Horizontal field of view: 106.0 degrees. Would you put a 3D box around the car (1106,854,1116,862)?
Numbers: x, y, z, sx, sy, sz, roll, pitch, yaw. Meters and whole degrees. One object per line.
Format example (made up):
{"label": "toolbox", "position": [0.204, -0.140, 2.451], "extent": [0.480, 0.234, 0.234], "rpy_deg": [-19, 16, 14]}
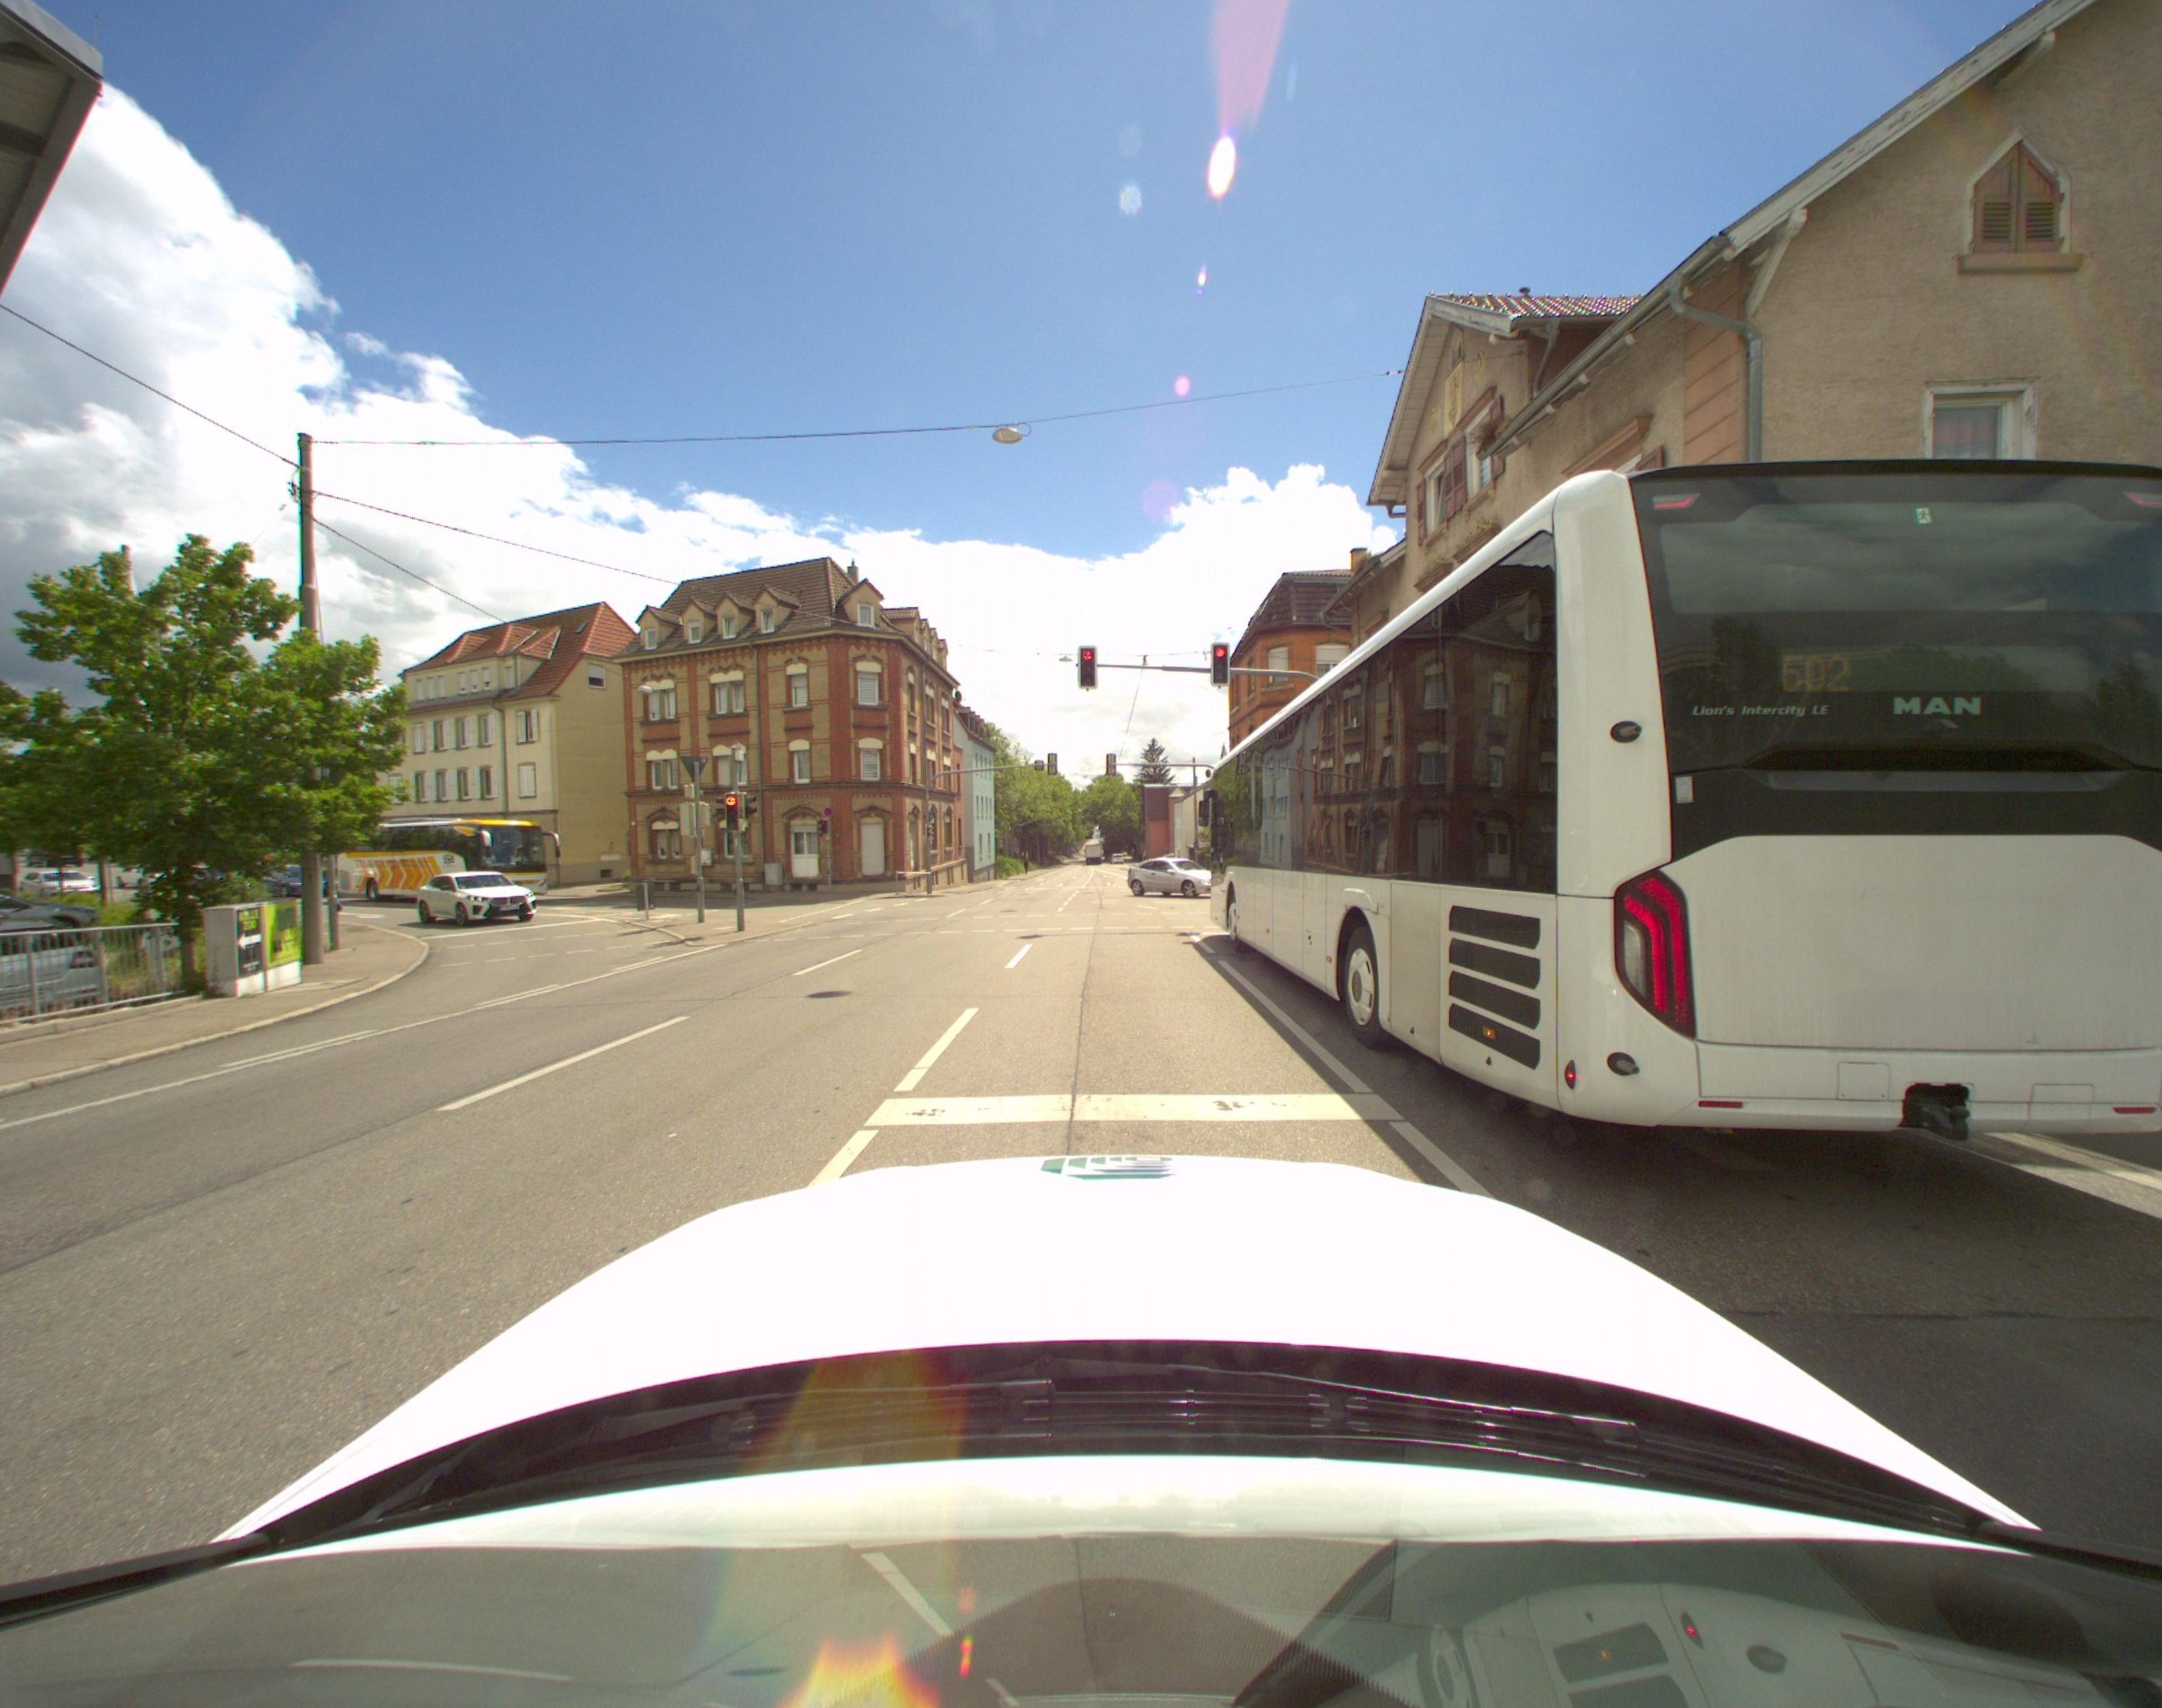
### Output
{"label": "car", "position": [5.727, 0.781, 154.054], "extent": [1.787, 1.409, 4.421], "rpy_deg": [-1, 0, 3]}

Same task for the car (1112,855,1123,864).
{"label": "car", "position": [5.824, 0.810, 129.625], "extent": [1.787, 1.409, 4.002], "rpy_deg": [-1, 0, 2]}

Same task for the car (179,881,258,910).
{"label": "car", "position": [-46.086, 2.203, 43.512], "extent": [3.949, 1.409, 1.923], "rpy_deg": [-2, 0, 29]}

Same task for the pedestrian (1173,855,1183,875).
{"label": "pedestrian", "position": [8.774, 0.974, 73.598], "extent": [0.736, 1.750, 0.619], "rpy_deg": [-2, 0, 1]}

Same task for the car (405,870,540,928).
{"label": "car", "position": [-18.896, 1.372, 25.242], "extent": [4.250, 1.551, 1.845], "rpy_deg": [-2, 1, 32]}

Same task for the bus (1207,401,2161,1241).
{"label": "bus", "position": [3.525, -0.137, 9.302], "extent": [2.662, 3.155, 12.467], "rpy_deg": [0, 0, 2]}

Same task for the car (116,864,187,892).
{"label": "car", "position": [-53.752, 1.389, 47.088], "extent": [3.949, 1.553, 1.923], "rpy_deg": [-2, 0, 29]}

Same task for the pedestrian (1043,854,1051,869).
{"label": "pedestrian", "position": [-4.656, 1.037, 112.415], "extent": [0.991, 2.013, 1.189], "rpy_deg": [-2, 0, 1]}

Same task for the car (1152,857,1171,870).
{"label": "car", "position": [9.217, 1.073, 93.056], "extent": [1.788, 1.409, 4.000], "rpy_deg": [-2, 0, 1]}

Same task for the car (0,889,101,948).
{"label": "car", "position": [-29.560, 1.786, 22.138], "extent": [1.777, 1.477, 3.522], "rpy_deg": [-2, 0, 32]}

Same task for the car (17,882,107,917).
{"label": "car", "position": [-50.941, 2.288, 40.703], "extent": [3.951, 1.596, 1.869], "rpy_deg": [-2, 0, 25]}

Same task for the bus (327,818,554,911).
{"label": "bus", "position": [-28.142, 0.347, 35.551], "extent": [12.111, 3.621, 2.788], "rpy_deg": [0, 0, 26]}

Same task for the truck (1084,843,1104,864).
{"label": "truck", "position": [2.078, -0.092, 133.394], "extent": [2.917, 3.081, 7.883], "rpy_deg": [-2, 0, 0]}

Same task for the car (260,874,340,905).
{"label": "car", "position": [-39.261, 1.771, 40.942], "extent": [3.949, 1.409, 1.762], "rpy_deg": [-2, 0, 28]}

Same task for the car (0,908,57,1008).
{"label": "car", "position": [-19.552, 1.815, 14.128], "extent": [3.455, 1.526, 1.626], "rpy_deg": [-1, 2, 29]}

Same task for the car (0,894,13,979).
{"label": "car", "position": [-23.491, 1.708, 16.547], "extent": [3.455, 1.680, 1.663], "rpy_deg": [-1, 2, 30]}

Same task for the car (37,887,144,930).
{"label": "car", "position": [-37.607, 2.043, 30.921], "extent": [3.456, 1.448, 1.811], "rpy_deg": [-2, 0, 26]}

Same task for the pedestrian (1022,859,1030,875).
{"label": "pedestrian", "position": [-5.708, 1.326, 84.285], "extent": [0.727, 1.565, 0.561], "rpy_deg": [-1, 0, 0]}

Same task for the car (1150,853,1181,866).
{"label": "car", "position": [11.757, 0.766, 113.112], "extent": [3.978, 1.757, 1.998], "rpy_deg": [-2, 0, -3]}

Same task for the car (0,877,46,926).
{"label": "car", "position": [-36.284, 1.593, 25.787], "extent": [1.785, 1.553, 4.023], "rpy_deg": [-2, 0, 25]}

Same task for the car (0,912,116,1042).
{"label": "car", "position": [-15.994, 1.769, 12.061], "extent": [3.321, 1.560, 1.693], "rpy_deg": [0, 2, 32]}

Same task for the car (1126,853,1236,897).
{"label": "car", "position": [3.566, 0.746, 29.655], "extent": [1.712, 1.427, 3.956], "rpy_deg": [-2, 0, -36]}

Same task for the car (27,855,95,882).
{"label": "car", "position": [-71.862, 1.034, 57.386], "extent": [3.953, 1.750, 1.835], "rpy_deg": [-2, 0, 21]}
